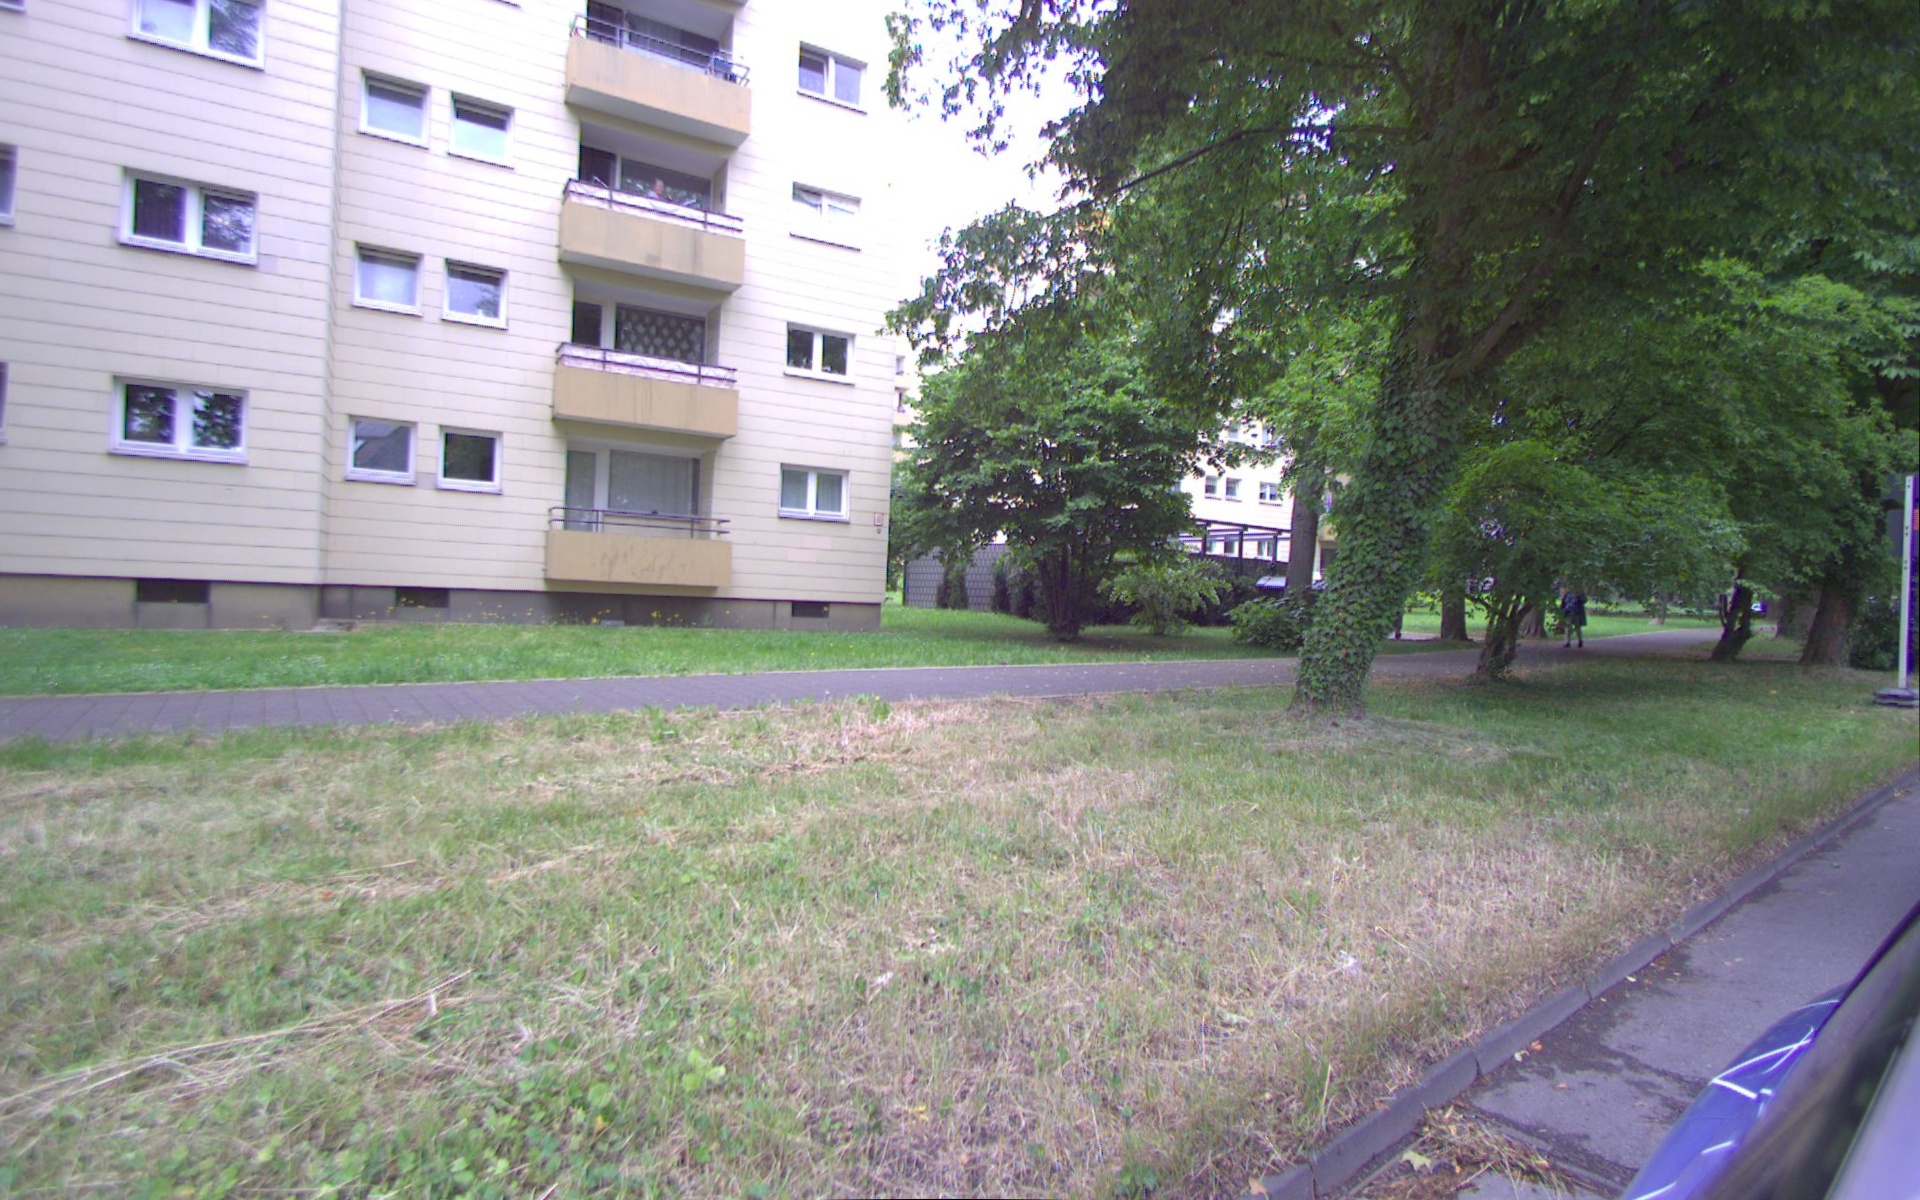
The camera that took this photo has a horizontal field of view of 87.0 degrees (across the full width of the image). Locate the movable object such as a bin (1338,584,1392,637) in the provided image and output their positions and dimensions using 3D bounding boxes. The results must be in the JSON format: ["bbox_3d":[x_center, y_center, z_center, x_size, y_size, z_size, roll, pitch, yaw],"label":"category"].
[{"bbox_3d":[10.552,0.263,26.353,1.022,1.320,0.946,3,2,41],"label":"movable object such as a bin"}]

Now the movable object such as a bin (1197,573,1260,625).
[{"bbox_3d":[7.412,-0.034,27.922,1.190,1.358,1.328,3,2,41],"label":"movable object such as a bin"}]

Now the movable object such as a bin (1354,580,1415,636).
[{"bbox_3d":[11.353,0.203,27.071,1.190,1.431,1.094,3,2,41],"label":"movable object such as a bin"}]

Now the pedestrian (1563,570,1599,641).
[{"bbox_3d":[15.754,0.132,25.681,0.560,1.761,0.565,1,2,-41],"label":"pedestrian"}]

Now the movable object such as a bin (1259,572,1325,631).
[{"bbox_3d":[8.674,0.025,26.450,1.190,1.475,1.328,3,2,41],"label":"movable object such as a bin"}]

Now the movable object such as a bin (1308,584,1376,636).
[{"bbox_3d":[9.664,0.241,25.579,1.190,1.236,1.329,3,2,41],"label":"movable object such as a bin"}]
